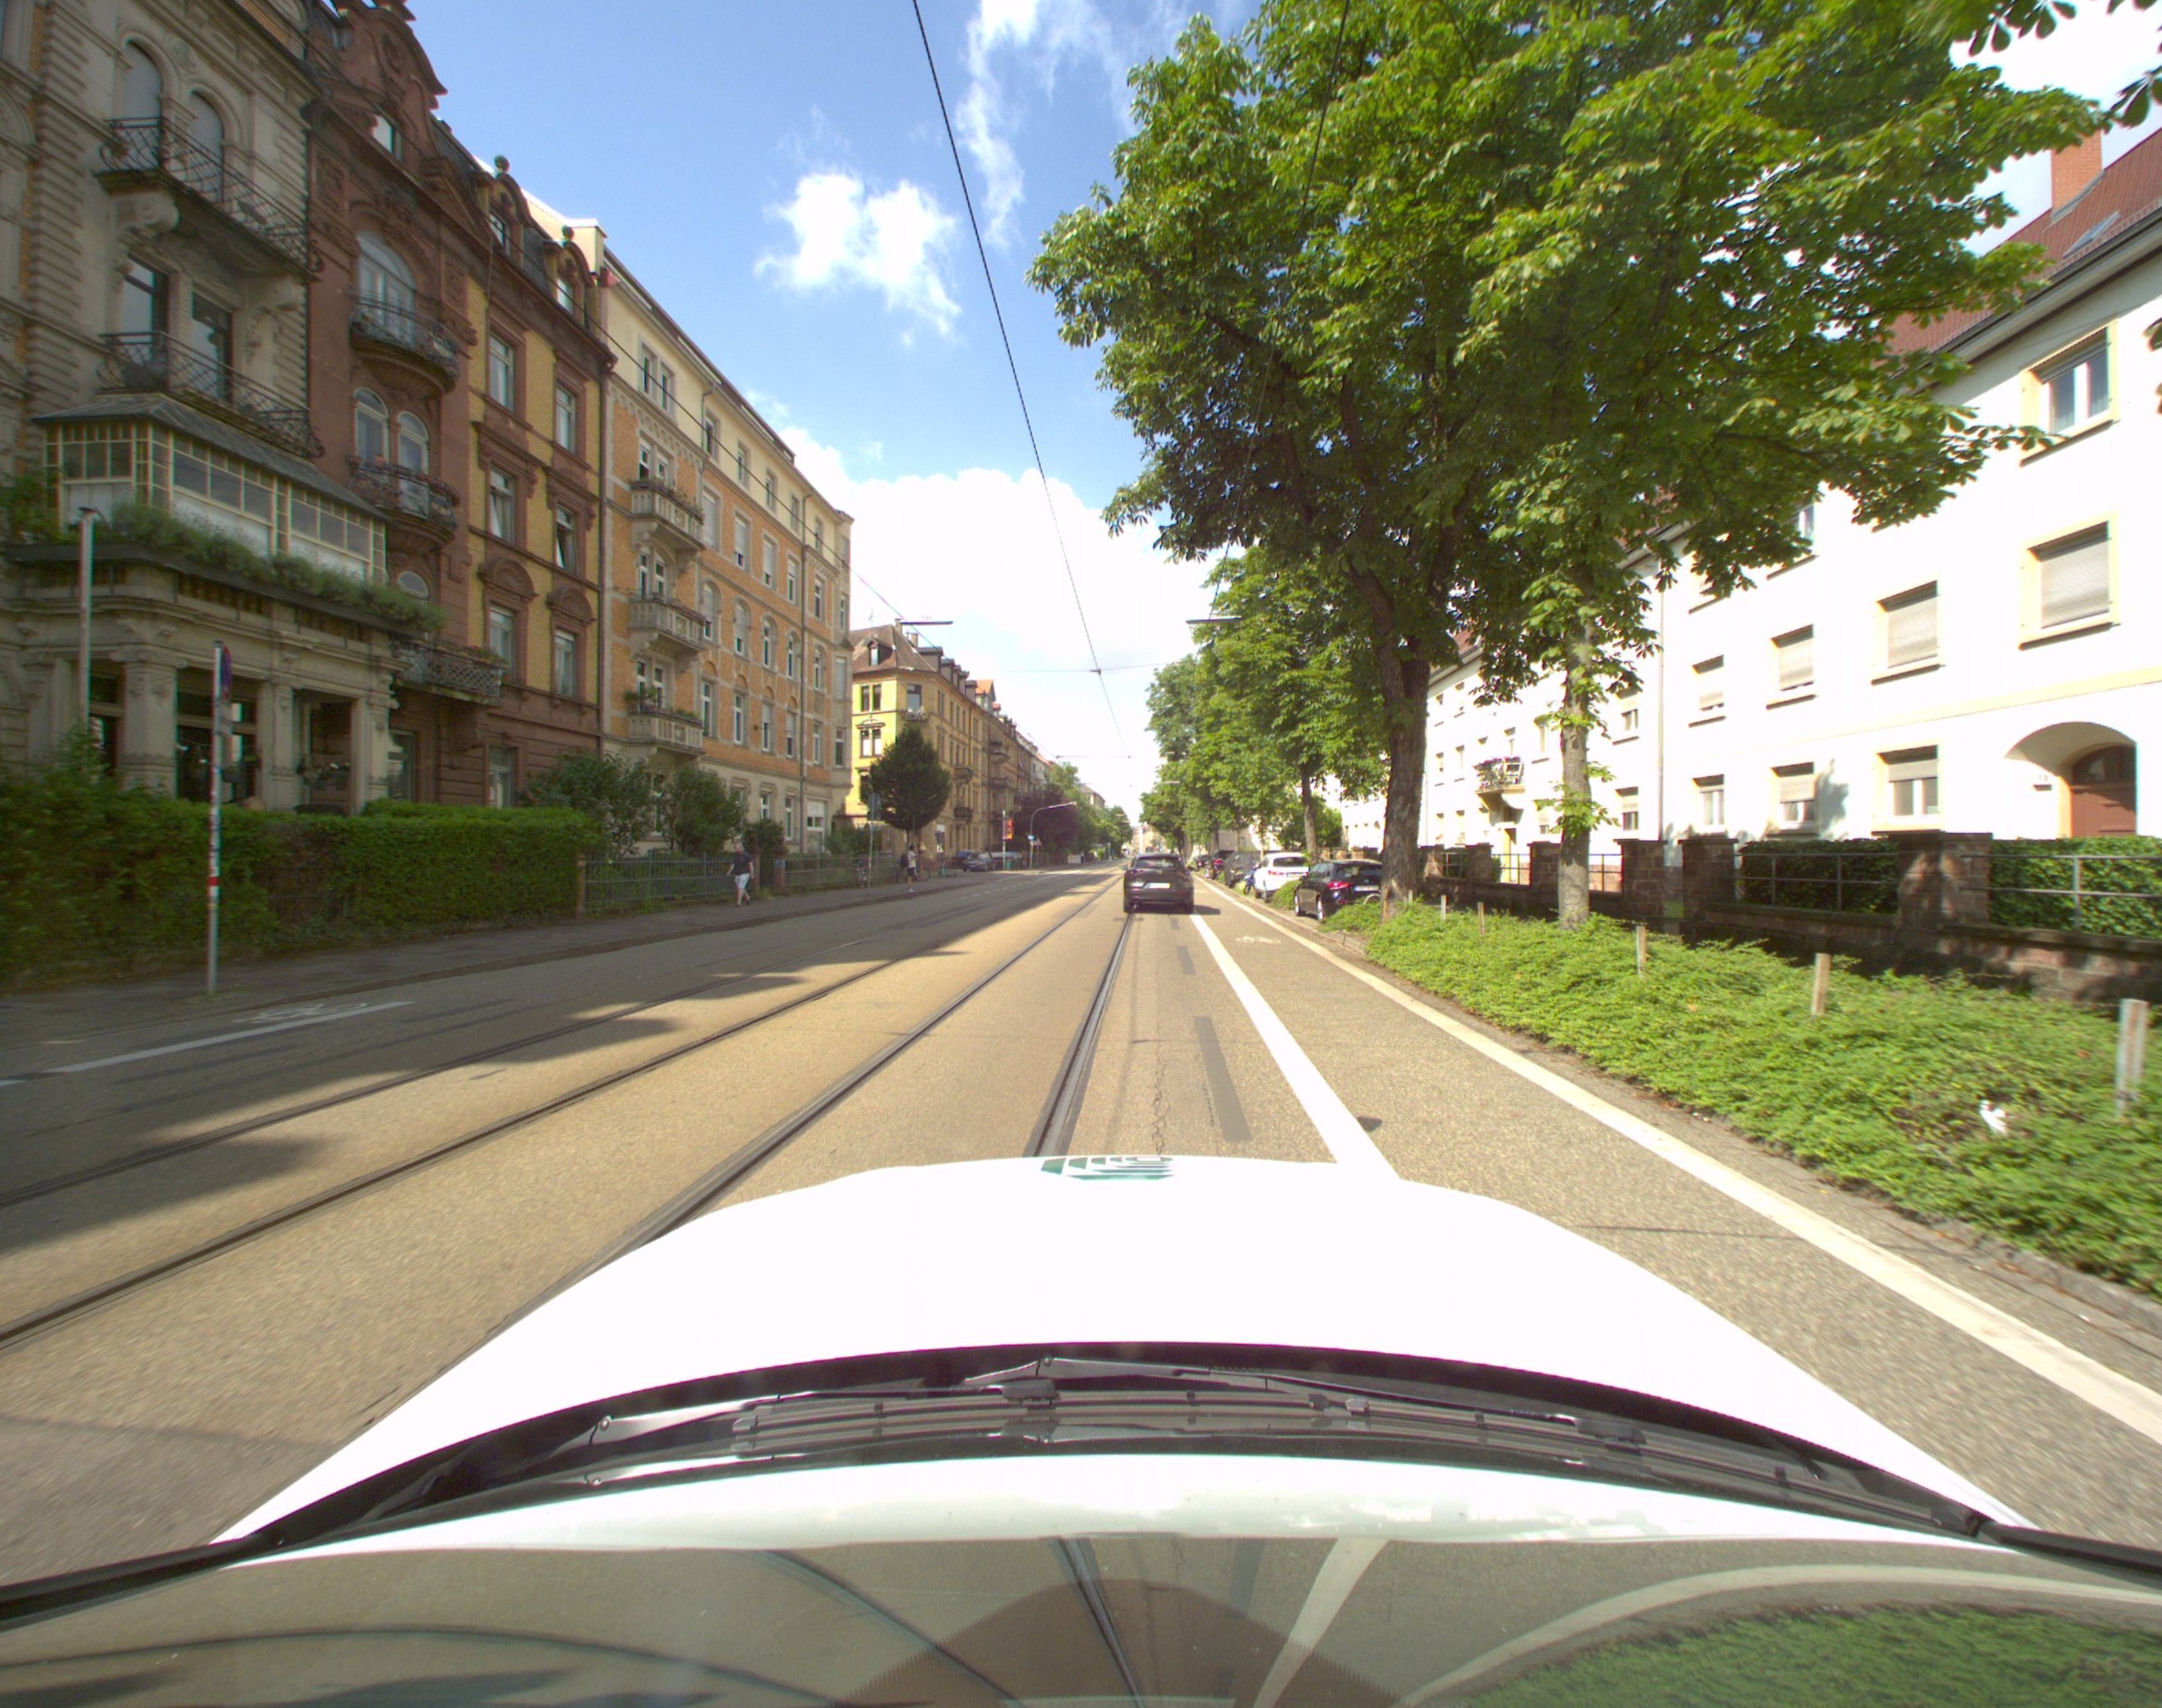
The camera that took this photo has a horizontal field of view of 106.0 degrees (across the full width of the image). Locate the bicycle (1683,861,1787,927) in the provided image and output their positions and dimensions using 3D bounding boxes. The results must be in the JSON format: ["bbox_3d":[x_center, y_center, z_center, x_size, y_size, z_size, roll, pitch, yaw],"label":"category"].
[{"bbox_3d":[12.117,0.703,15.159,0.622,1.135,1.803,0,0,5],"label":"bicycle"}]

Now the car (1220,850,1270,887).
[{"bbox_3d":[7.787,0.637,39.030,1.854,1.653,4.644,0,0,5],"label":"car"}]

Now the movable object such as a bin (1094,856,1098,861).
[{"bbox_3d":[2.871,0.879,155.216,0.741,0.988,1.116,2,0,5],"label":"movable object such as a bin"}]

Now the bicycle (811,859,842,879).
[{"bbox_3d":[-12.763,0.743,40.808,1.446,0.976,0.404,0,0,4],"label":"bicycle"}]

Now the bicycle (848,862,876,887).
[{"bbox_3d":[-8.636,0.801,32.221,0.419,0.932,1.952,0,0,5],"label":"bicycle"}]

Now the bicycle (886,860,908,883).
[{"bbox_3d":[-8.232,0.766,36.491,0.419,0.976,1.952,0,0,5],"label":"bicycle"}]

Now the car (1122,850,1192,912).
[{"bbox_3d":[2.013,0.662,21.689,1.712,1.526,3.594,0,0,5],"label":"car"}]

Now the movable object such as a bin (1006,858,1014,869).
[{"bbox_3d":[-5.807,0.796,66.612,0.523,0.906,0.637,0,0,3],"label":"movable object such as a bin"}]

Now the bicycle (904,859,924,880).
[{"bbox_3d":[-8.075,0.737,39.394,0.419,0.976,1.952,0,0,5],"label":"bicycle"}]

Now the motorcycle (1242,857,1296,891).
[{"bbox_3d":[7.423,0.783,32.217,1.999,1.337,0.747,0,0,1],"label":"motorcycle"}]

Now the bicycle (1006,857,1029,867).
[{"bbox_3d":[-5.688,0.713,73.134,1.955,0.946,0.532,0,0,0],"label":"bicycle"}]

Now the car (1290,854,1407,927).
[{"bbox_3d":[6.157,0.762,19.251,1.653,1.521,4.293,0,0,4],"label":"car"}]

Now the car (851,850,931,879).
[{"bbox_3d":[-9.880,0.526,42.484,3.582,1.403,1.791,1,0,9],"label":"car"}]

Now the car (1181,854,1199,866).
[{"bbox_3d":[14.190,0.751,106.209,1.839,1.409,4.397,-2,0,2],"label":"car"}]

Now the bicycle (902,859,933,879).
[{"bbox_3d":[-8.184,0.743,40.790,1.446,0.976,0.404,0,0,4],"label":"bicycle"}]

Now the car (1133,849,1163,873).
[{"bbox_3d":[4.767,0.478,57.535,1.984,1.529,4.005,2,0,5],"label":"car"}]

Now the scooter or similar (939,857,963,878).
[{"bbox_3d":[-7.894,0.806,49.473,1.367,1.235,0.401,1,-1,-24],"label":"scooter or similar"}]

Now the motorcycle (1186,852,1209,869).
[{"bbox_3d":[11.987,0.654,83.650,2.357,1.597,0.683,2,1,44],"label":"motorcycle"}]

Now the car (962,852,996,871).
[{"bbox_3d":[-8.007,0.566,64.593,1.677,1.459,4.771,0,0,5],"label":"car"}]

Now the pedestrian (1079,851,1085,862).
[{"bbox_3d":[0.162,0.386,122.873,0.819,1.706,0.892,0,0,2],"label":"pedestrian"}]

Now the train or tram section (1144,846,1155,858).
[{"bbox_3d":[21.084,-0.552,250.758,2.562,3.772,13.032,0,0,2],"label":"train or tram section"}]

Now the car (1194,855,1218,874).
[{"bbox_3d":[10.420,0.839,68.195,1.698,1.479,4.202,2,0,5],"label":"car"}]

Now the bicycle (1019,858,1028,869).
[{"bbox_3d":[-4.986,0.785,70.847,0.527,0.946,1.970,0,0,5],"label":"bicycle"}]

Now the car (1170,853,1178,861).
[{"bbox_3d":[20.767,0.673,182.161,1.712,1.968,4.214,0,0,6],"label":"car"}]

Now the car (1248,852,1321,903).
[{"bbox_3d":[6.807,0.733,27.654,1.734,1.581,4.254,0,0,4],"label":"car"}]

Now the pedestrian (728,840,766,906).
[{"bbox_3d":[-8.809,0.490,21.506,0.485,1.703,1.152,0,0,3],"label":"pedestrian"}]

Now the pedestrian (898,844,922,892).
[{"bbox_3d":[-6.430,0.518,30.669,0.530,1.760,1.107,2,0,5],"label":"pedestrian"}]

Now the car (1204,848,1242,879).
[{"bbox_3d":[8.442,0.514,48.638,1.818,1.782,4.740,0,0,5],"label":"car"}]

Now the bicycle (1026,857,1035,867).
[{"bbox_3d":[-4.613,0.730,74.513,0.527,0.946,1.970,0,0,5],"label":"bicycle"}]
